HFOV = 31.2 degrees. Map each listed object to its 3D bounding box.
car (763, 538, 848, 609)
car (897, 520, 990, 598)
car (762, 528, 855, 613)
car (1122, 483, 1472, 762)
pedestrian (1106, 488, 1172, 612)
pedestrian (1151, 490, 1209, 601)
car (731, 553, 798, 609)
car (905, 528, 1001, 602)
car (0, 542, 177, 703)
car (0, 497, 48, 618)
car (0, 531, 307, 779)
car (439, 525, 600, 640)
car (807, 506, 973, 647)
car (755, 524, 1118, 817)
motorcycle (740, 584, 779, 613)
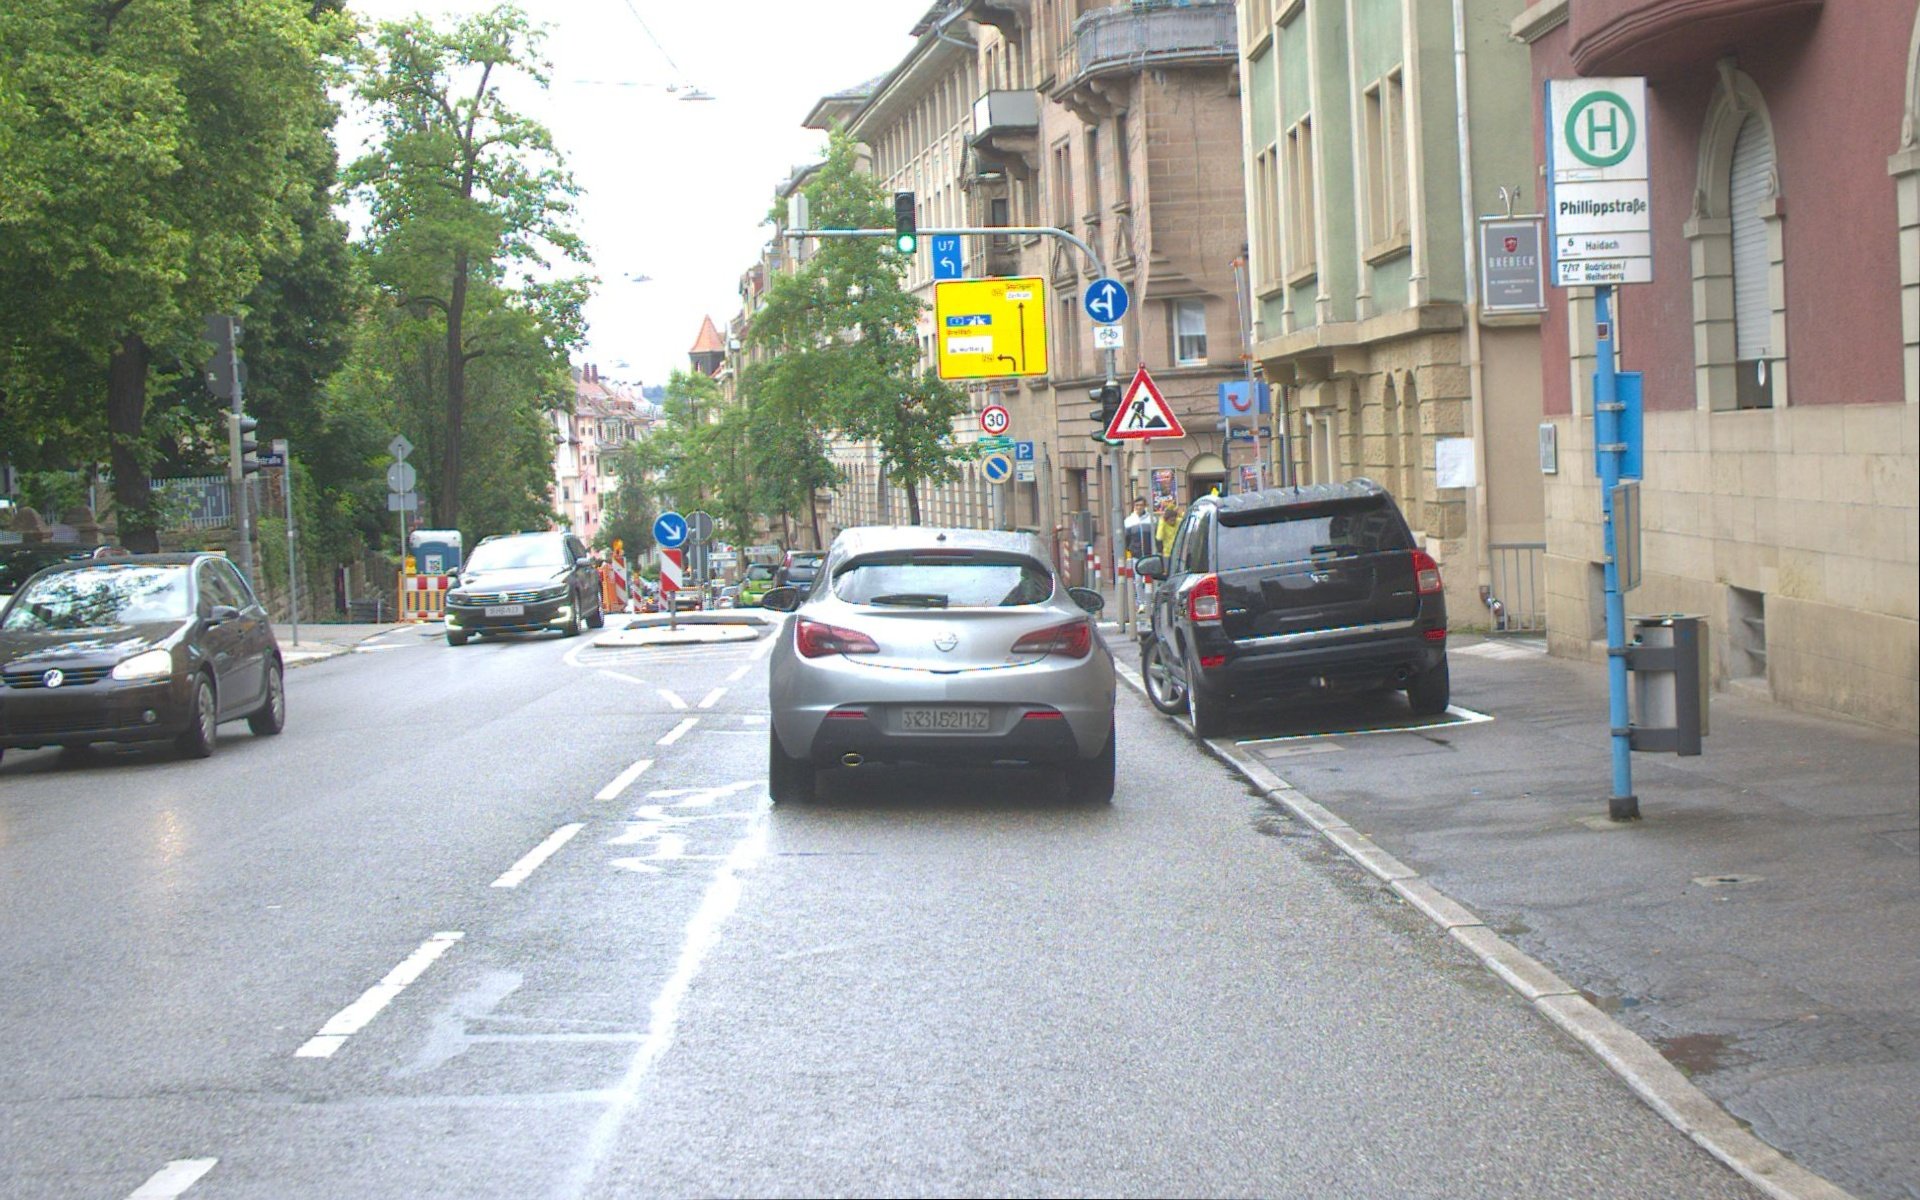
[{"bbox_3d":[-3.791,-0.627,83.772,1.656,1.537,3.666,-4,0,-7],"label":"car"},{"bbox_3d":[-0.324,-0.805,69.115,1.772,1.499,3.869,-1,0,0],"label":"car"},{"bbox_3d":[-2.986,-0.570,68.410,1.656,1.537,3.665,-4,0,-1],"label":"car"},{"bbox_3d":[2.276,0.134,24.409,1.877,1.624,4.697,-5,0,0],"label":"car"},{"bbox_3d":[2.664,-0.745,51.098,0.718,1.768,0.665,-4,2,18],"label":"pedestrian"},{"bbox_3d":[3.246,-0.814,50.766,0.597,1.579,0.665,-4,2,18],"label":"pedestrian"},{"bbox_3d":[-5.966,-0.556,104.529,1.656,1.537,3.666,-4,0,-7],"label":"car"},{"bbox_3d":[-0.191,-0.792,79.620,1.656,1.537,3.666,-4,0,-7],"label":"car"},{"bbox_3d":[-9.445,0.214,35.493,1.741,1.554,4.302,0,0,0],"label":"car"},{"bbox_3d":[-18.824,-0.877,60.949,4.666,2.041,2.024,4,3,14],"label":"car"},{"bbox_3d":[-6.195,0.341,25.746,1.772,1.512,4.592,-3,3,-1],"label":"car"},{"bbox_3d":[-6.178,-0.267,48.631,1.815,1.512,4.549,-1,1,-2],"label":"car"},{"bbox_3d":[-0.767,-0.264,39.357,1.772,1.499,3.869,-1,0,0],"label":"car"},{"bbox_3d":[-0.101,0.349,19.339,1.811,1.444,3.869,-1,0,1],"label":"car"},{"bbox_3d":[-8.573,-0.060,147.089,0.656,1.231,1.978,-1,-1,32],"label":"motorcycle"}]
